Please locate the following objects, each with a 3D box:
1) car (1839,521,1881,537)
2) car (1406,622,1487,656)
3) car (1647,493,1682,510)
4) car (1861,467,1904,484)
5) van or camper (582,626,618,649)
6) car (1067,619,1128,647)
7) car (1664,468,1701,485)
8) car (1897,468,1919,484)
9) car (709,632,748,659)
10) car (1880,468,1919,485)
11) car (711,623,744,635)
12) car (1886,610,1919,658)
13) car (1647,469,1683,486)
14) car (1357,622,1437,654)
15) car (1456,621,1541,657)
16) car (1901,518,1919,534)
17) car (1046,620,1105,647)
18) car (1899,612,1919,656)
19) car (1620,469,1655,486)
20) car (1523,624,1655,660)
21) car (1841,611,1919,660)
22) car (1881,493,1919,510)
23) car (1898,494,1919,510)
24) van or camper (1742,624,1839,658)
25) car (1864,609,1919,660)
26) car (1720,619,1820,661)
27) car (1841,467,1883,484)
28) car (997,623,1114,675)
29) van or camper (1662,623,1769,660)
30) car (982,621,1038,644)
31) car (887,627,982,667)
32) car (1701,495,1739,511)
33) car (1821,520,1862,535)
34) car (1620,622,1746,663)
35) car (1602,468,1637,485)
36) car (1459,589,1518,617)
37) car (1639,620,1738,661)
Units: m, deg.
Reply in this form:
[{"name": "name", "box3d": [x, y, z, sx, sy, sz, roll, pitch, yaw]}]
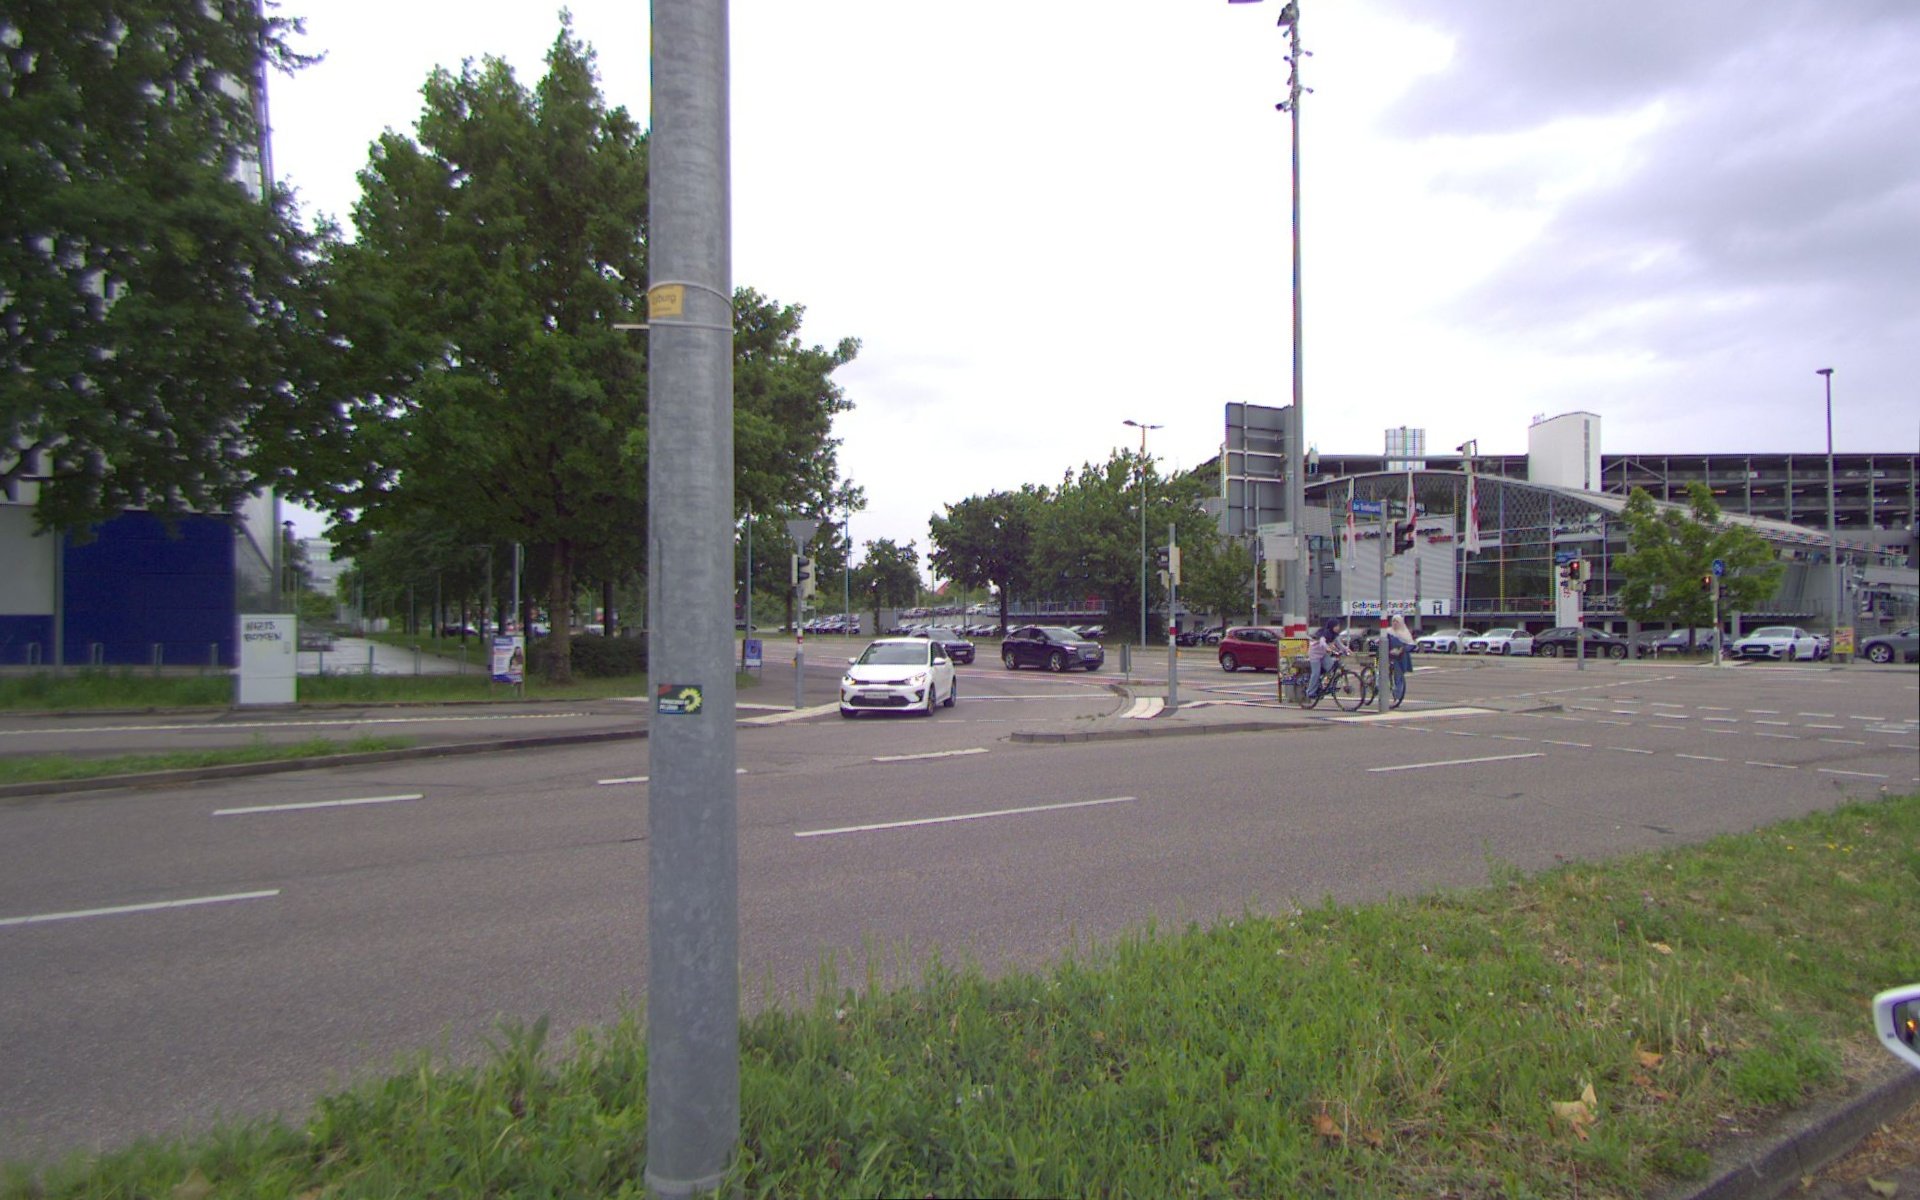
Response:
[{"name": "car", "box3d": [116.762, -9.227, 130.331, 1.960, 1.689, 4.001, 1, 0, 2]}, {"name": "car", "box3d": [24.482, 1.956, 50.504, 4.002, 1.505, 1.860, 4, -3, -33]}, {"name": "car", "box3d": [91.548, -12.786, 130.570, 1.960, 1.689, 4.001, 1, 0, 2]}, {"name": "car", "box3d": [119.330, -16.114, 129.942, 1.960, 1.689, 4.001, 1, 0, 2]}, {"name": "van or camper", "box3d": [-29.073, 3.011, 81.076, 1.977, 1.744, 4.359, 0, -3, -31]}, {"name": "car", "box3d": [10.194, 2.441, 74.156, 4.210, 1.622, 1.858, 8, -4, -34]}, {"name": "car", "box3d": [94.044, -16.079, 130.794, 1.960, 1.689, 4.001, 1, 0, 2]}, {"name": "car", "box3d": [124.333, -16.088, 130.284, 1.960, 1.689, 4.001, 1, 0, 2]}, {"name": "car", "box3d": [-12.664, 2.453, 55.194, 1.695, 1.389, 3.996, -1, -2, -8]}, {"name": "car", "box3d": [122.089, -16.047, 130.306, 1.960, 1.689, 4.001, 1, 0, 2]}, {"name": "car", "box3d": [-30.646, 3.831, 132.431, 3.949, 1.455, 1.718, 2, 0, -27]}, {"name": "car", "box3d": [42.257, 1.396, 41.872, 2.243, 2.040, 4.993, 2, -4, -34]}, {"name": "car", "box3d": [91.676, -15.935, 130.623, 1.960, 1.689, 4.001, 1, 0, 2]}, {"name": "car", "box3d": [22.981, 2.013, 52.799, 4.188, 1.505, 1.855, 4, -3, -33]}, {"name": "car", "box3d": [26.008, 1.896, 48.442, 4.154, 1.505, 1.836, 4, -3, -33]}, {"name": "car", "box3d": [126.669, -9.776, 131.292, 2.167, 1.971, 5.331, 1, 0, -1]}, {"name": "car", "box3d": [8.825, 2.566, 76.436, 4.181, 1.504, 1.808, 8, -4, -34]}, {"name": "car", "box3d": [44.290, 1.454, 43.563, 2.034, 1.900, 4.914, 2, -4, -35]}, {"name": "car", "box3d": [88.499, -16.028, 131.317, 1.960, 1.689, 4.001, 1, 0, 2]}, {"name": "car", "box3d": [28.370, 1.888, 45.455, 1.873, 1.505, 4.713, 4, -4, -32]}, {"name": "car", "box3d": [37.572, 1.382, 38.957, 1.979, 1.887, 4.744, 2, -4, -34]}, {"name": "car", "box3d": [121.907, -12.699, 129.868, 1.960, 1.689, 4.001, 1, 0, 2]}, {"name": "car", "box3d": [124.128, -12.716, 129.854, 1.960, 1.689, 4.001, 1, 0, 2]}, {"name": "van or camper", "box3d": [47.795, 2.340, 57.876, 1.828, 1.734, 3.963, 2, 0, -33]}, {"name": "car", "box3d": [39.708, 1.373, 40.341, 1.979, 2.040, 4.674, 2, -4, -34]}, {"name": "car", "box3d": [32.000, 1.595, 39.654, 4.184, 1.505, 1.858, 3, -3, -33]}, {"name": "car", "box3d": [116.709, -16.110, 129.986, 1.960, 1.689, 4.001, 1, 0, 2]}, {"name": "car", "box3d": [3.407, 1.745, 36.654, 1.867, 1.659, 4.292, -3, 0, -35]}, {"name": "van or camper", "box3d": [38.881, 2.108, 51.779, 1.979, 1.700, 3.963, 2, 0, -33]}, {"name": "car", "box3d": [4.123, 2.709, 82.827, 4.153, 1.505, 1.959, 7, -3, -33]}, {"name": "car", "box3d": [-1.180, 1.989, 43.185, 1.867, 1.565, 4.554, -1, -1, -35]}, {"name": "car", "box3d": [98.621, -12.577, 130.373, 1.960, 1.689, 4.001, 1, 0, 2]}, {"name": "car", "box3d": [114.152, -9.383, 130.092, 1.960, 1.689, 4.001, 1, 0, 2]}, {"name": "car", "box3d": [36.258, 2.077, 50.522, 1.978, 1.965, 4.776, 1, -2, -32]}, {"name": "car", "box3d": [86.105, -16.102, 131.209, 1.960, 1.689, 4.001, 1, 0, 2]}, {"name": "car", "box3d": [34.710, 0.195, 65.991, 3.960, 1.684, 1.807, 2, 0, -35]}, {"name": "car", "box3d": [30.485, 1.739, 42.009, 4.473, 1.505, 2.050, 4, -5, -35]}]
